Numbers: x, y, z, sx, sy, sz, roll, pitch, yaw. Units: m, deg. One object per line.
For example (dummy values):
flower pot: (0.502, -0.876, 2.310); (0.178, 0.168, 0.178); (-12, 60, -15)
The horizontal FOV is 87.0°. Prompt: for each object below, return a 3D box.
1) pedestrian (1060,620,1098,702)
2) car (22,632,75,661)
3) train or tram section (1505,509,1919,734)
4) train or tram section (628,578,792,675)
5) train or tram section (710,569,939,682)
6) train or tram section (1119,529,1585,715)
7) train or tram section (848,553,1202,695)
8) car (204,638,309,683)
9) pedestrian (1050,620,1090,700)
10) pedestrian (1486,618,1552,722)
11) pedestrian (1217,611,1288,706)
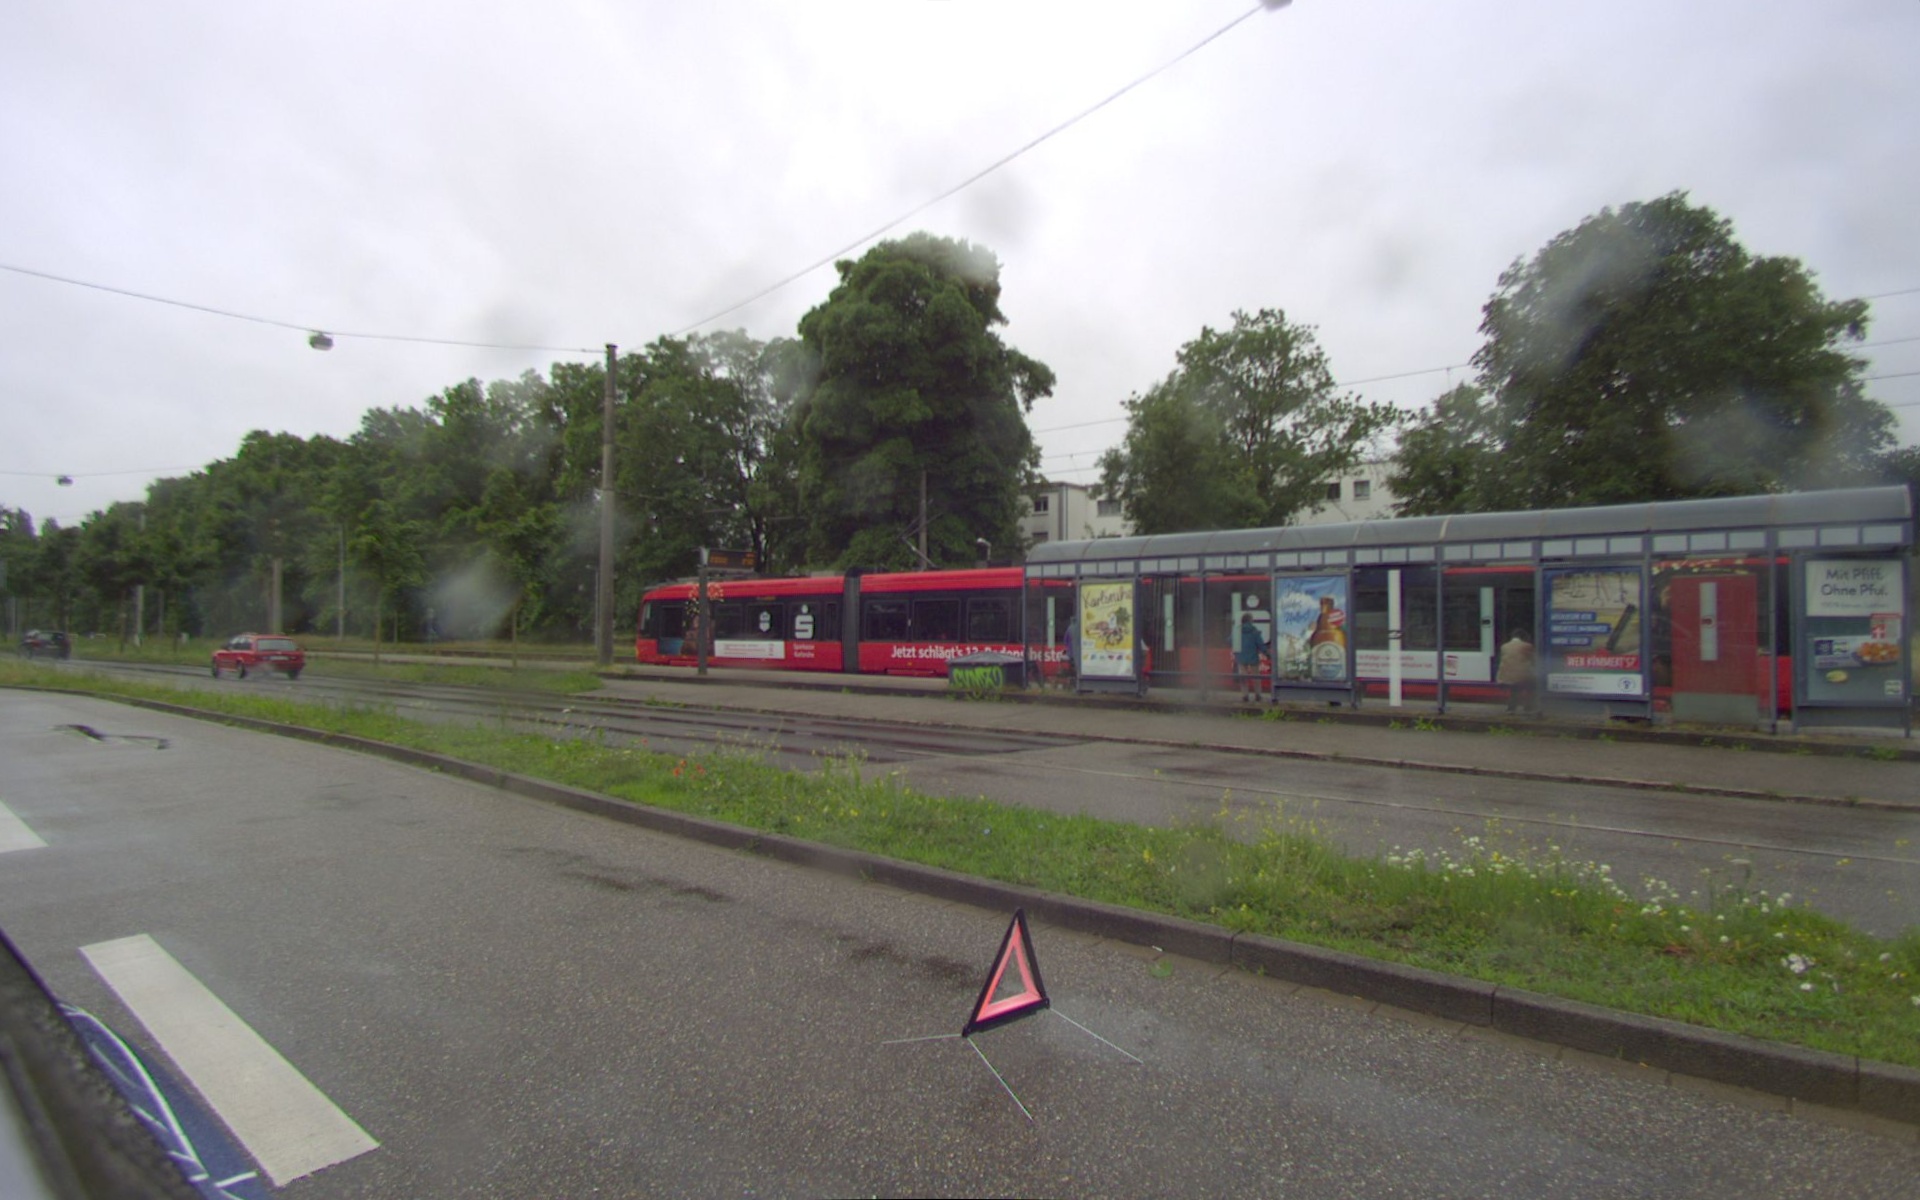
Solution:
pedestrian: (2.335, 1.186, 19.892); (0.437, 1.574, 0.603); (-1, 0, -35)
car: (-49.373, 2.503, 54.794); (3.819, 1.448, 1.718); (-1, -1, 42)
train or tram section: (14.943, 0.387, 17.389); (9.274, 3.415, 3.496); (-2, -3, 41)
train or tram section: (-9.721, 1.052, 39.155); (5.767, 3.444, 3.496); (-2, -3, 41)
train or tram section: (-4.798, 0.905, 34.799); (7.899, 3.438, 3.496); (-2, -3, 41)
train or tram section: (8.513, 0.548, 23.058); (9.274, 3.416, 3.496); (-2, -3, 41)
train or tram section: (1.509, 0.737, 29.245); (10.256, 3.427, 3.496); (-2, -3, 41)
car: (-22.948, 1.960, 32.967); (4.247, 1.371, 1.663); (-2, -4, 39)
pedestrian: (2.233, 1.196, 20.511); (0.514, 1.574, 0.603); (-1, 0, -35)
pedestrian: (8.191, 1.010, 14.828); (0.699, 1.464, 0.618); (-2, -3, 43)
pedestrian: (5.125, 1.000, 17.719); (0.929, 1.609, 0.795); (-2, -2, 43)
